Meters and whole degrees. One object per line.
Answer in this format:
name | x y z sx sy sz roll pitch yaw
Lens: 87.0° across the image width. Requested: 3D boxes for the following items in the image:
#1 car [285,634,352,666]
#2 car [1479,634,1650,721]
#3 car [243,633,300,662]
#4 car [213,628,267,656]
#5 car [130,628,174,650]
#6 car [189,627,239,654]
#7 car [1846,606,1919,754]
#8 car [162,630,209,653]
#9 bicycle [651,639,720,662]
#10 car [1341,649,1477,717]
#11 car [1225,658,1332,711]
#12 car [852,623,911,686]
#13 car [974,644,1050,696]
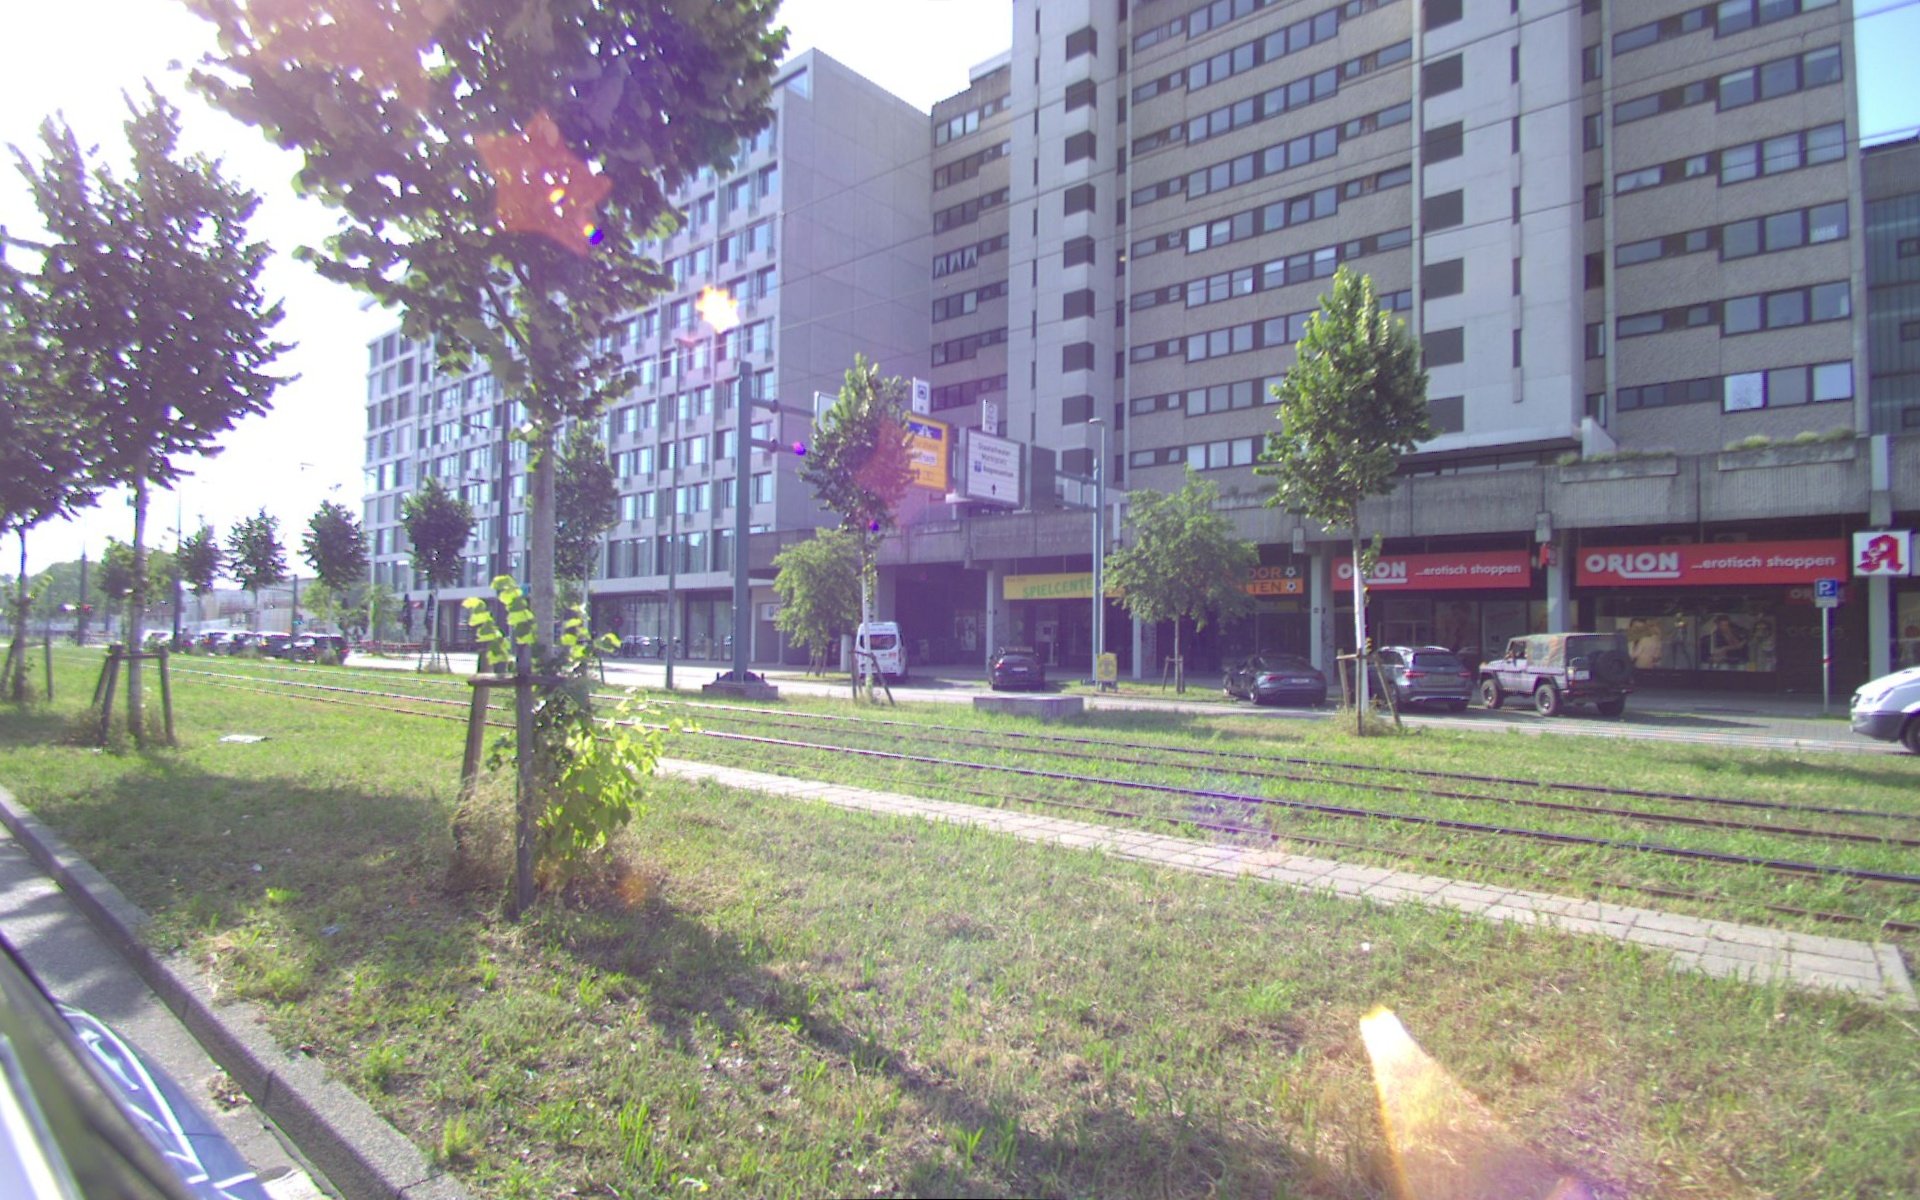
car | -31.106 2.393 49.023 4.001 1.492 1.787 -2 -3 44
car | 14.943 1.867 25.321 1.854 1.983 4.109 1 -2 1
car | -36.844 2.522 54.130 3.642 1.498 1.722 -2 -3 44
car | -41.578 2.414 58.418 4.001 1.586 1.787 -2 -3 44
car | -58.291 2.835 73.004 3.999 1.536 1.764 -1 -3 42
car | -45.717 2.478 62.003 4.001 1.586 1.787 -2 -3 44
car | 16.728 1.220 14.975 5.330 2.256 2.025 -1 -3 40
car | -50.944 2.716 66.566 4.001 1.486 1.787 -2 -3 44
bicycle | -16.790 3.110 62.069 3.937 1.377 1.128 3 -3 -40
car | 11.814 2.142 26.969 1.854 1.619 4.109 1 -2 1
car | 9.103 2.391 29.298 1.854 1.253 4.109 0 -1 1
car | -3.050 2.153 40.467 1.859 2.326 5.406 1 -2 1
car | 1.754 2.394 35.577 2.070 1.594 4.005 -1 -1 -6
